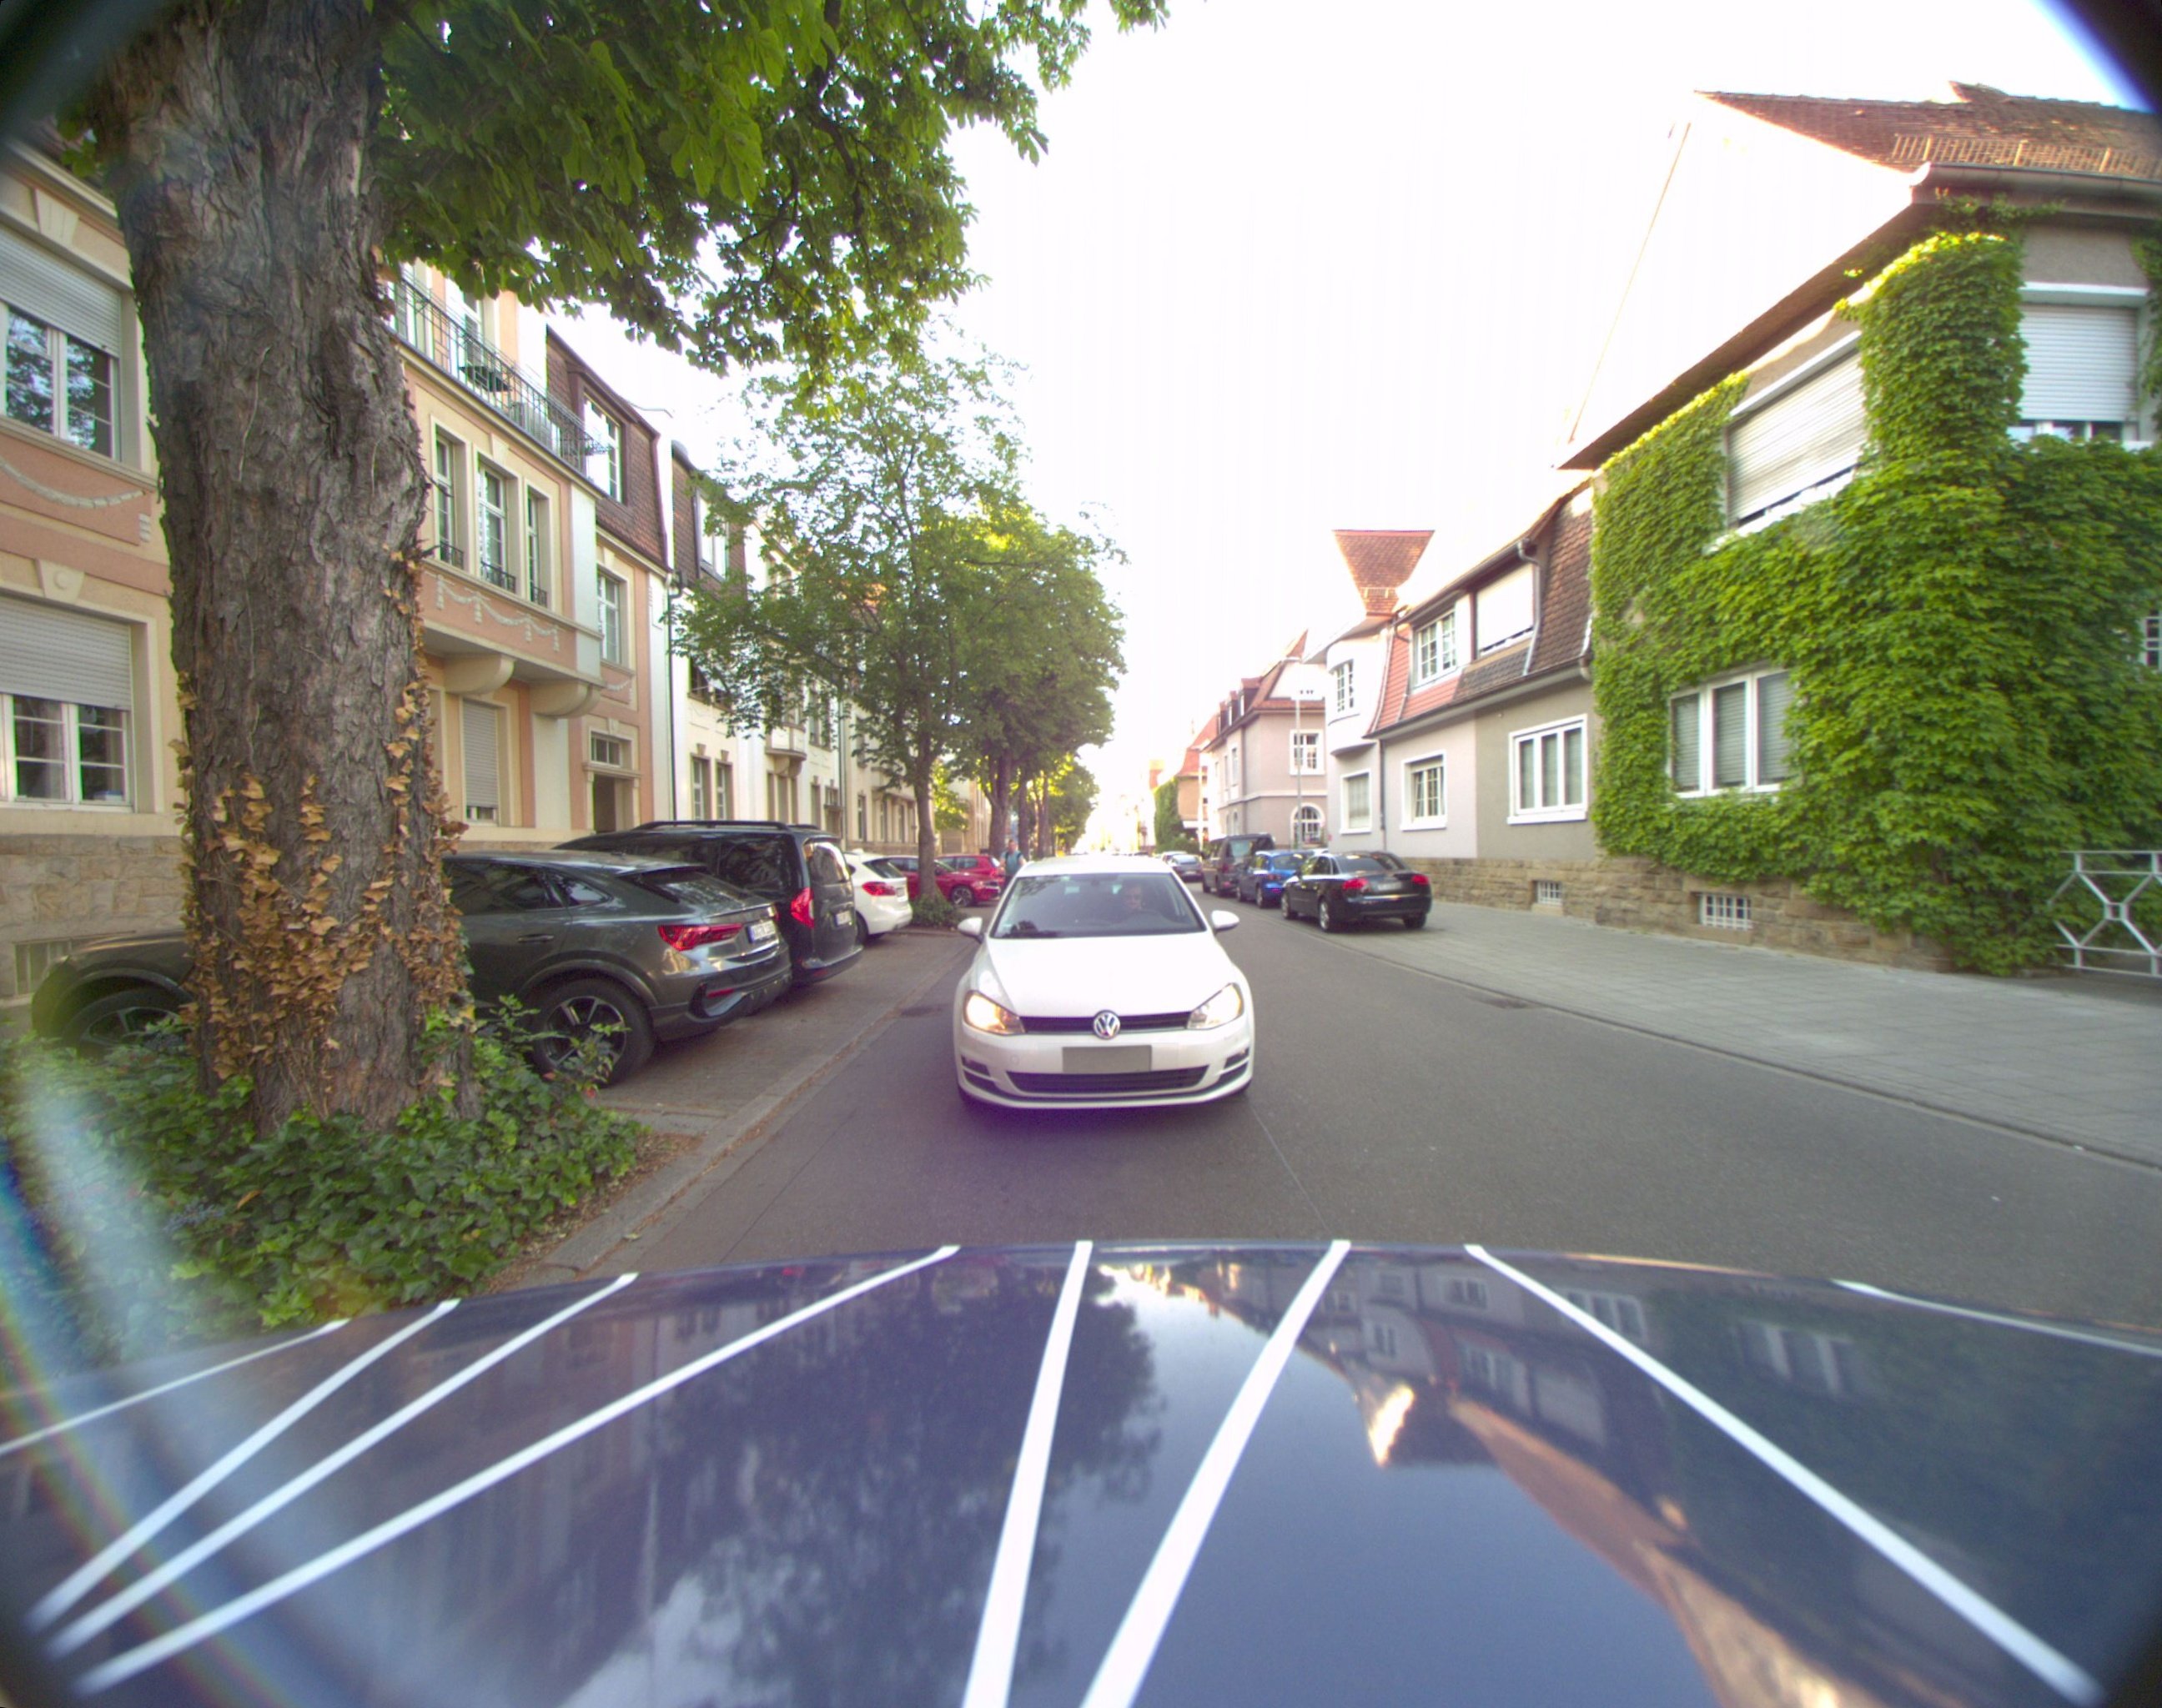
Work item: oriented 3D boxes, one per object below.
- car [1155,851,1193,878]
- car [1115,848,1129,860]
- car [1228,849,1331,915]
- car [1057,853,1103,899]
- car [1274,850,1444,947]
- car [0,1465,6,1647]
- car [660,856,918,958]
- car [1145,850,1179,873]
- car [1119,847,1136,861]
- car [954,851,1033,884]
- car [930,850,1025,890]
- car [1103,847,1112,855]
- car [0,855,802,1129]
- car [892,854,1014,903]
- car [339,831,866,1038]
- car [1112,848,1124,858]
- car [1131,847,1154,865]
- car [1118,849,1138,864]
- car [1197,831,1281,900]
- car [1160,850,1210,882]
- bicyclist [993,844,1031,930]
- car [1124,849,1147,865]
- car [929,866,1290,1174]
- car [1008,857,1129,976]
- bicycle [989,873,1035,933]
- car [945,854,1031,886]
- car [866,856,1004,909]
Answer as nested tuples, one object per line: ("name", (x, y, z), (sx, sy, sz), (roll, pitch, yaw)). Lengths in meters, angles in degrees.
("car", (5.133, 0.540, 42.307), (1.541, 1.363, 3.945), (-3, 0, 0))
("car", (5.458, -0.045, 101.259), (1.643, 1.461, 3.689), (-3, 0, 0))
("car", (5.213, 0.655, 20.432), (1.611, 1.455, 4.023), (-4, 1, 0))
("car", (-0.019, 0.756, 27.903), (1.560, 1.546, 3.738), (1, 0, 1))
("car", (5.065, 0.714, 14.438), (1.751, 1.421, 4.023), (-4, 1, 1))
("car", (-4.666, 0.794, 0.510), (4.835, 1.814, 1.880), (1, 1, -4))
("car", (-4.619, 0.823, 12.389), (3.623, 1.541, 1.537), (1, 1, -4))
("car", (5.353, 0.468, 50.643), (1.719, 1.363, 3.945), (-3, 0, 0))
("car", (5.571, -0.018, 91.162), (1.643, 1.461, 3.689), (-3, 0, -1))
("car", (-4.201, 0.643, 36.840), (3.622, 1.555, 1.537), (0, 1, 0))
("car", (-4.173, 0.638, 30.939), (3.622, 1.555, 1.537), (0, 1, 0))
("car", (5.235, -0.535, 149.150), (1.643, 1.461, 3.689), (-3, 0, 0))
("car", (-4.362, 0.839, 5.409), (4.173, 1.583, 1.594), (1, 1, -4))
("car", (-4.045, 0.765, 24.335), (3.622, 1.456, 1.537), (1, 1, 0))
("car", (-4.446, 0.712, 7.590), (4.173, 1.816, 1.594), (1, 1, -4))
("car", (5.677, -0.181, 115.760), (1.643, 1.461, 3.689), (-3, 0, 0))
("car", (5.489, 0.142, 68.245), (1.643, 1.461, 3.945), (-3, 0, 0))
("car", (4.964, 0.229, 80.927), (1.643, 1.461, 3.688), (-3, 0, -4))
("car", (5.125, 0.315, 25.180), (1.719, 1.961, 4.310), (-4, 1, 0))
("car", (4.980, 0.555, 36.829), (1.719, 1.363, 4.334), (-3, 0, 0))
("bicyclist", (-1.450, 0.680, 16.159), (0.648, 1.765, 0.830), (-2, 1, 1))
("car", (5.403, 0.288, 75.487), (1.643, 1.461, 3.688), (-3, 0, -4))
("car", (0.112, 0.882, 5.917), (1.799, 1.420, 4.023), (-2, 0, -1))
("car", (-0.140, 0.838, 12.112), (1.600, 1.546, 4.000), (1, 0, 1))
("bicycle", (-1.446, 1.012, 16.228), (0.744, 1.111, 2.013), (-2, 0, 1))
("car", (-4.140, 0.723, 34.173), (3.622, 1.395, 1.537), (0, 1, 0))
("car", (-4.124, 0.797, 21.781), (3.622, 1.395, 1.537), (1, 1, 0))
